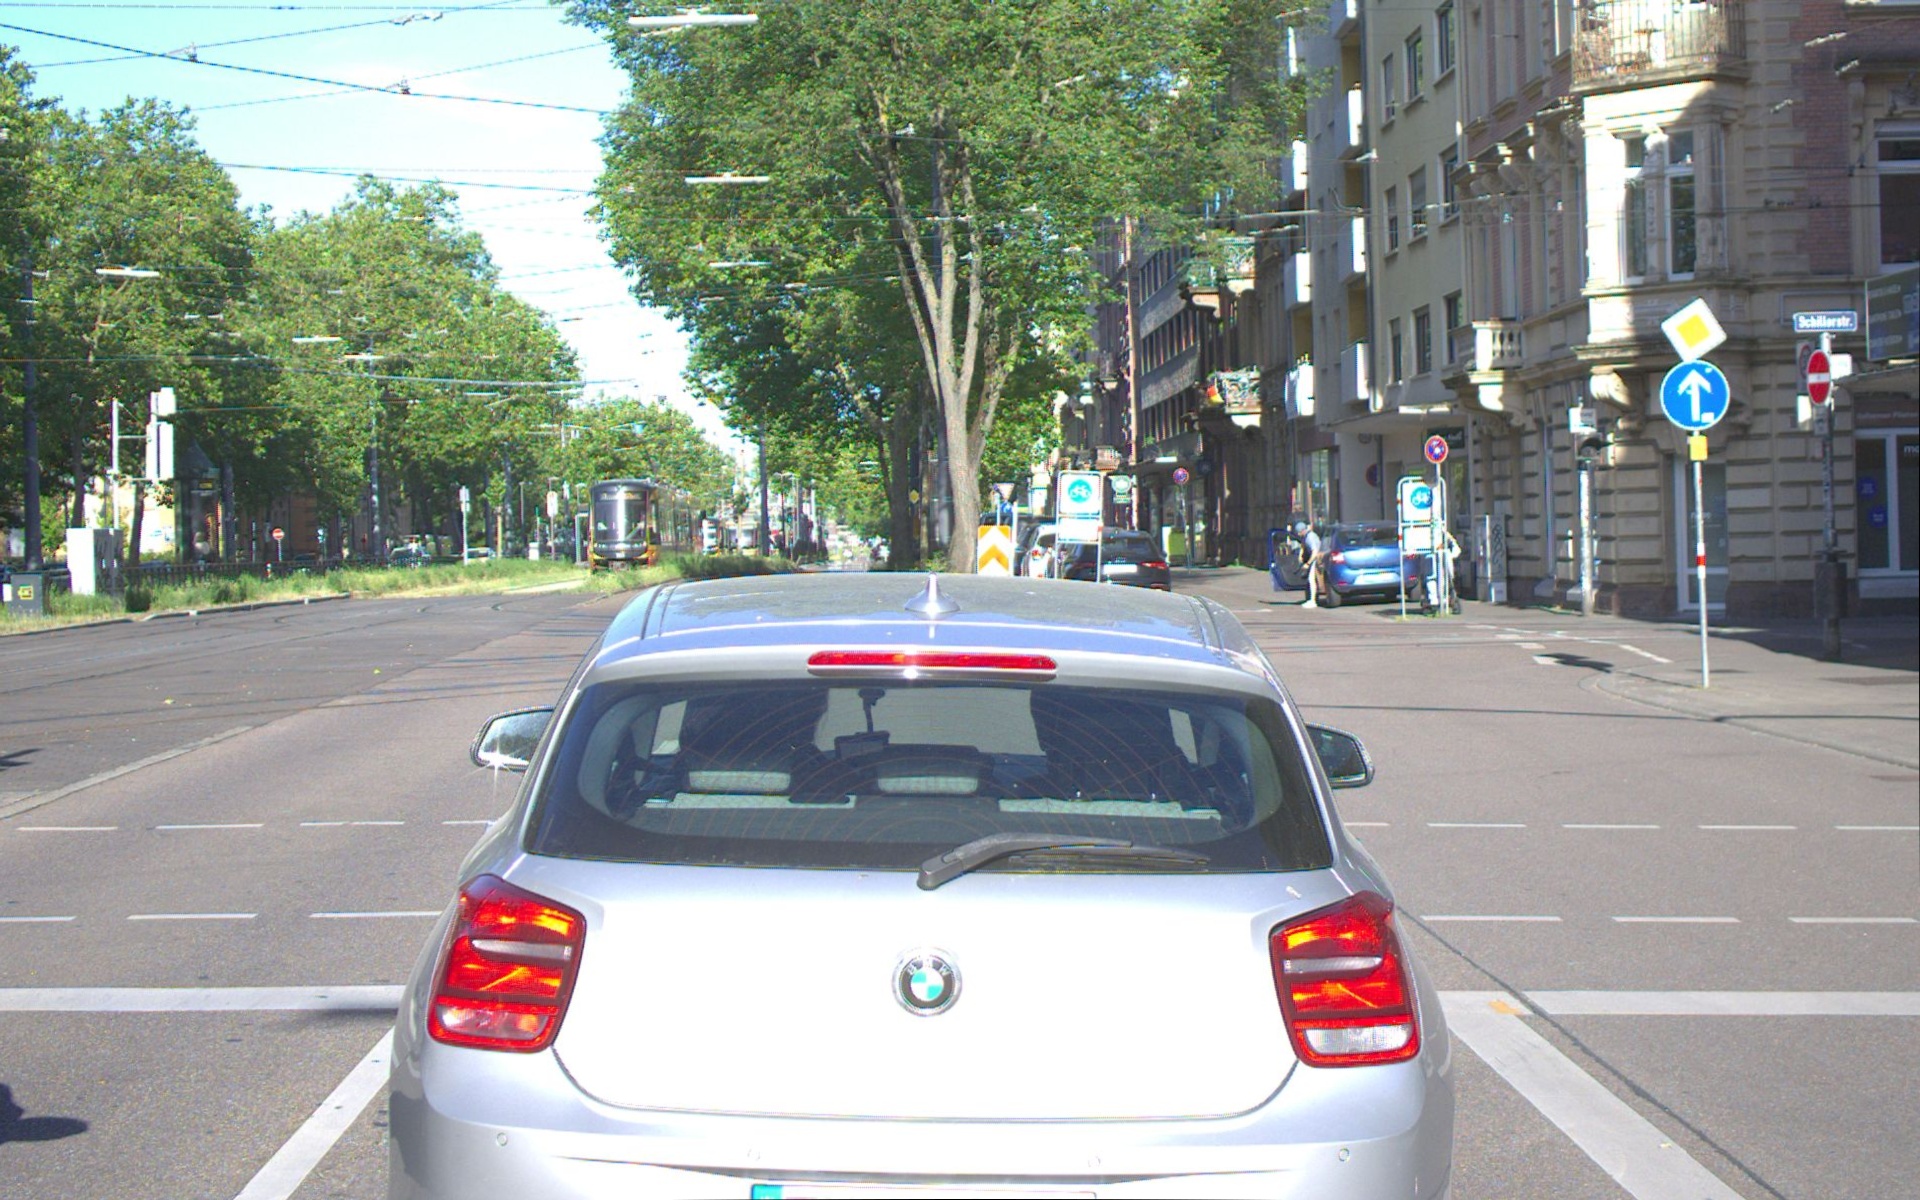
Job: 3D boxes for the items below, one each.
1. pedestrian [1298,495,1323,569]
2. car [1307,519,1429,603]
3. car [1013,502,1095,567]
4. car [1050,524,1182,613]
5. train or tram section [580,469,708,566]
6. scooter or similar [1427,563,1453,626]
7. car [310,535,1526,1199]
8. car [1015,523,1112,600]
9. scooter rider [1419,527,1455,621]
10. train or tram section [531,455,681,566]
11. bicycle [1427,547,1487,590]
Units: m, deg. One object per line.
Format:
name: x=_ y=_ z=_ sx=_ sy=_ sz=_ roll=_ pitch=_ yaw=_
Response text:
pedestrian: x=8.606 y=-1.668 z=84.452 sx=0.505 sy=1.795 sz=0.806 roll=-1 pitch=1 yaw=-1
car: x=7.511 y=-0.742 z=63.567 sx=1.735 sy=1.514 sz=3.637 roll=0 pitch=1 yaw=-1
car: x=2.200 y=-1.553 z=81.555 sx=1.724 sy=1.501 sz=3.555 roll=0 pitch=1 yaw=-2
car: x=2.569 y=-0.555 z=57.502 sx=1.735 sy=1.428 sz=3.679 roll=0 pitch=1 yaw=-5
train or tram section: x=-13.353 y=-3.545 z=147.112 sx=4.005 sy=3.852 sz=17.490 roll=-1 pitch=1 yaw=-1
scooter or similar: x=7.813 y=-0.089 z=55.972 sx=0.337 sy=0.984 sz=1.284 roll=-1 pitch=2 yaw=4
car: x=-0.091 y=0.619 z=6.953 sx=1.740 sy=1.462 sz=4.000 roll=1 pitch=1 yaw=-1
car: x=2.050 y=-0.791 z=68.938 sx=1.724 sy=1.501 sz=3.555 roll=0 pitch=1 yaw=-2
scooter rider: x=7.773 y=-0.431 z=56.018 sx=0.465 sy=1.500 sz=0.811 roll=-1 pitch=1 yaw=2
train or tram section: x=-13.156 y=-3.359 z=129.733 sx=3.969 sy=3.852 sz=17.490 roll=-1 pitch=1 yaw=-1
bicycle: x=9.210 y=-0.587 z=63.752 sx=0.754 sy=0.768 sz=1.945 roll=-1 pitch=1 yaw=-2
